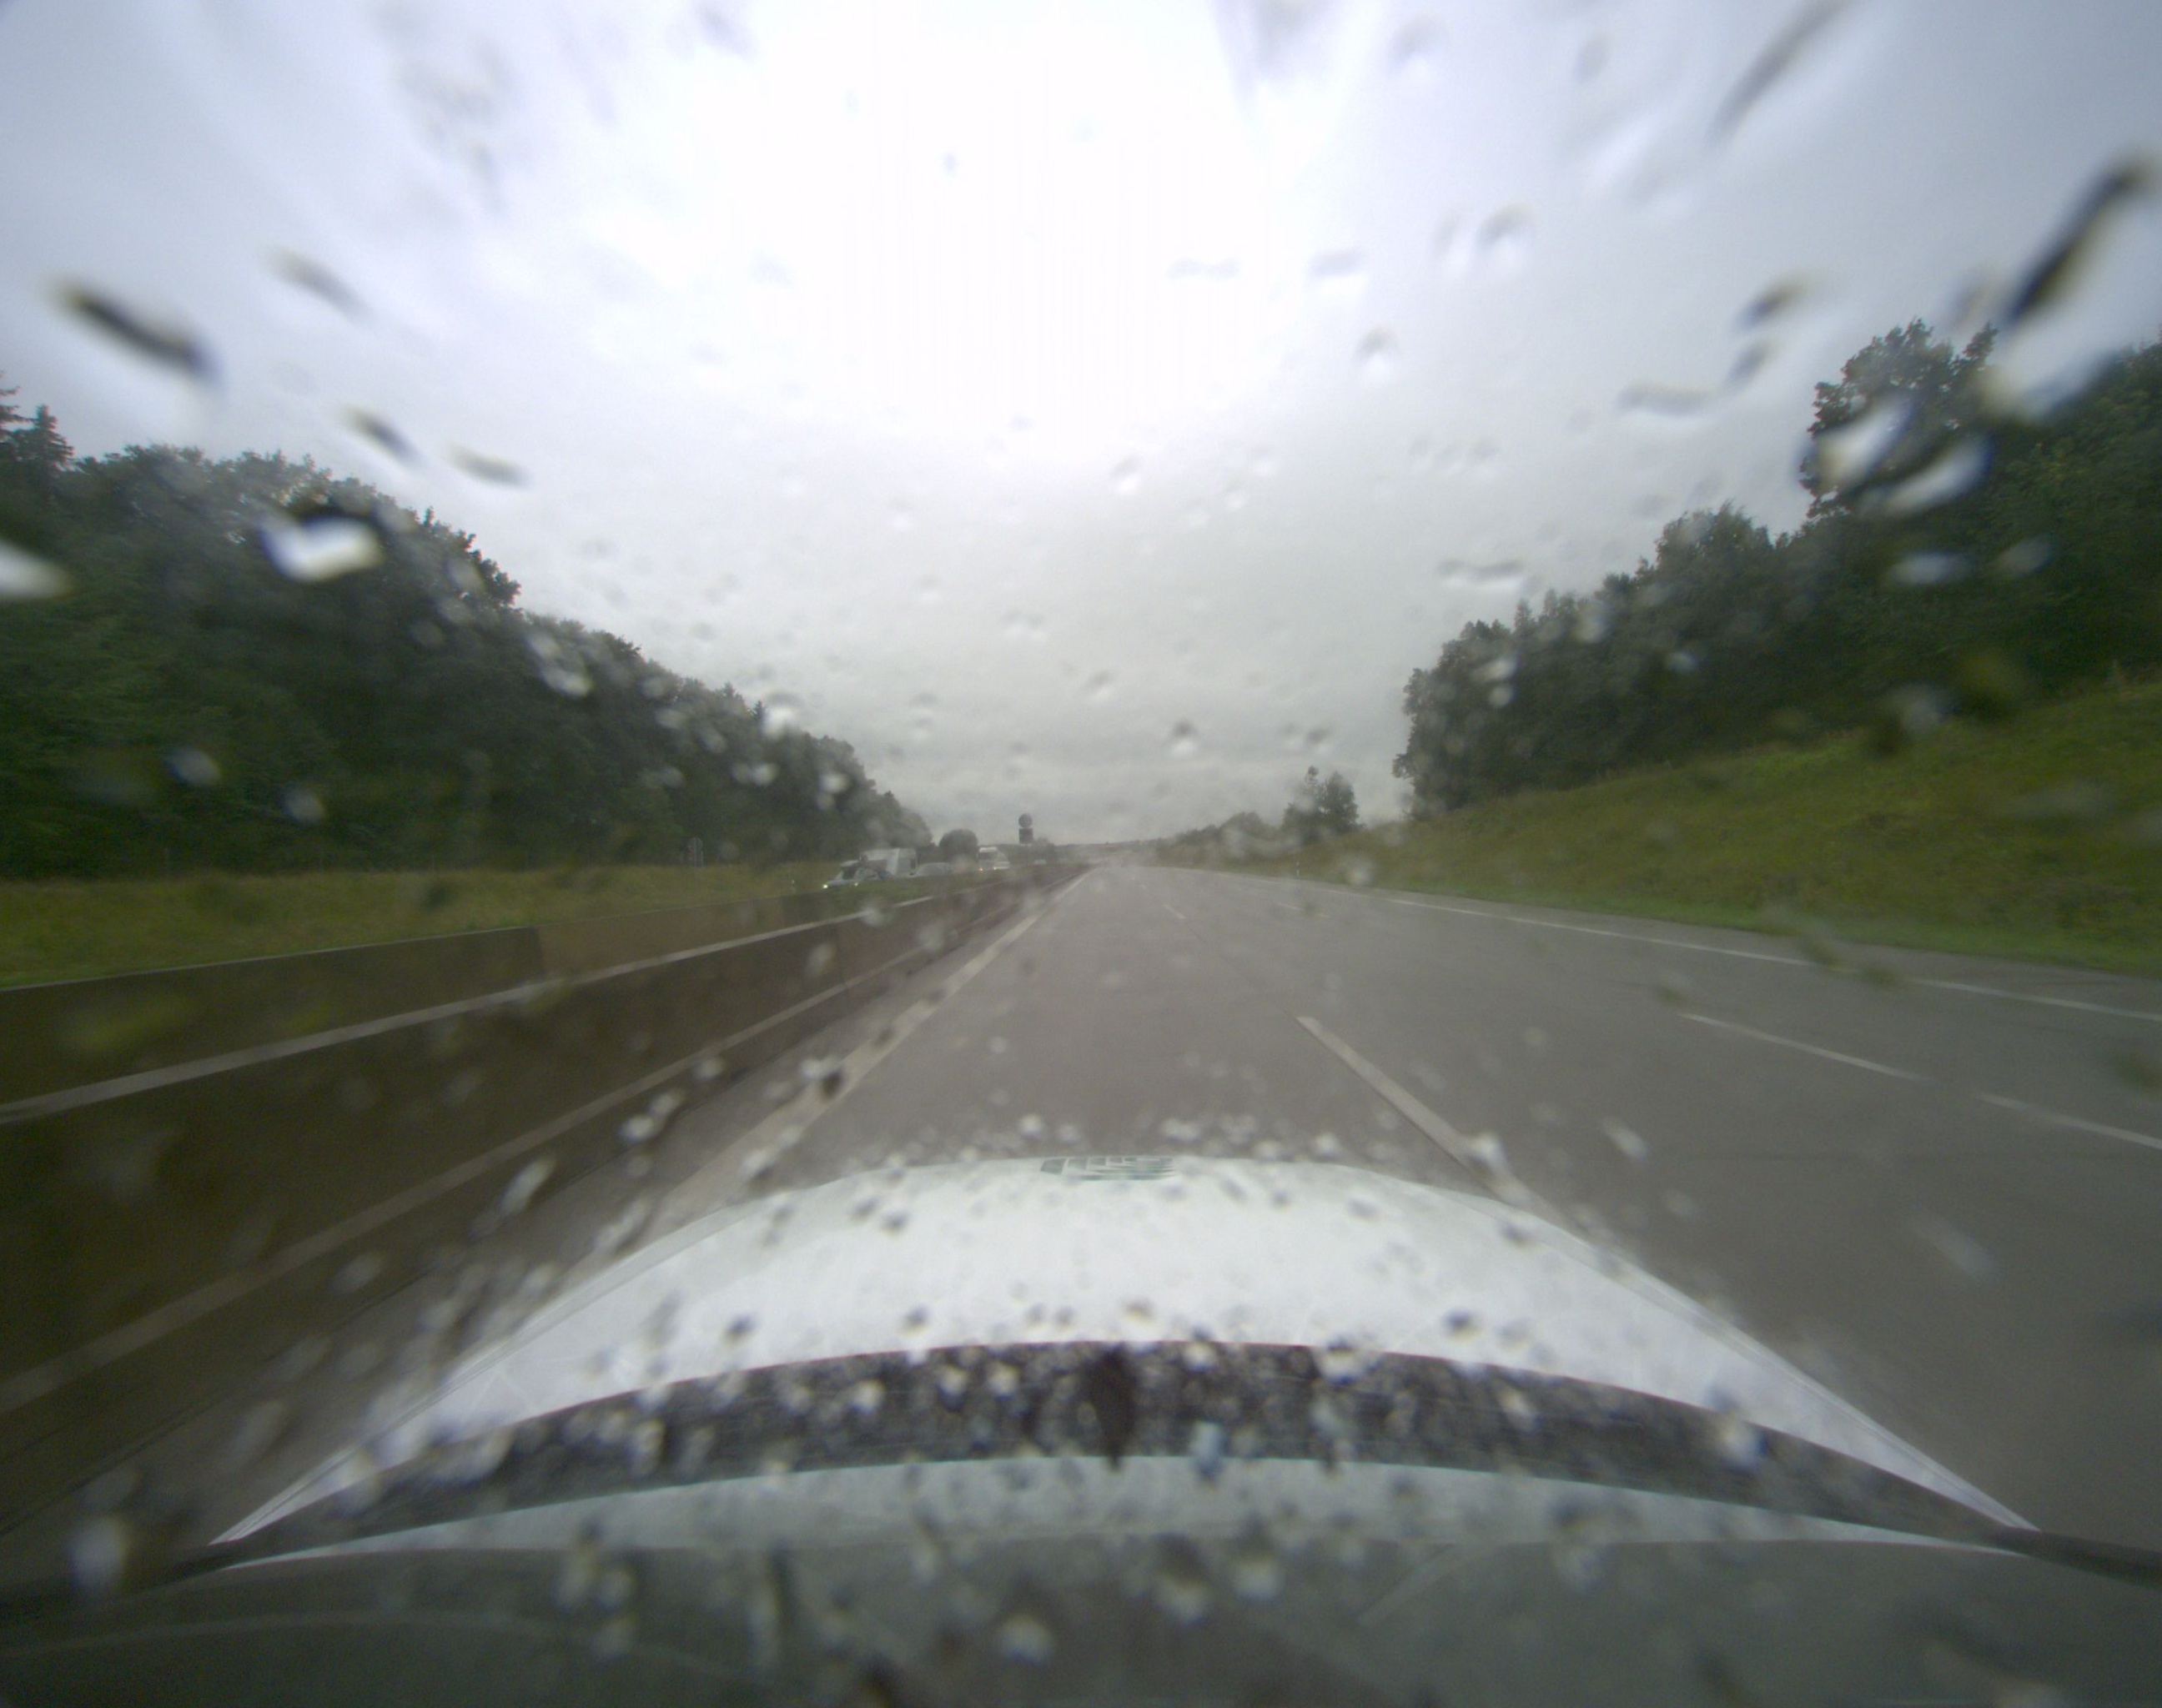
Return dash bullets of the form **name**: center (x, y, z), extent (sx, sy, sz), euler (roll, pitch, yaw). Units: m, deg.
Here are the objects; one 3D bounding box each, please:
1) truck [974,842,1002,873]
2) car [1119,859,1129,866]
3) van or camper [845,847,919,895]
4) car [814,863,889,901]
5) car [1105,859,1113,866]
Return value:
- **truck**: center (-12.559, 0.441, 110.011), extent (2.654, 3.875, 6.440), euler (-2, 1, 2)
- **car**: center (9.205, 1.866, 173.527), extent (1.841, 1.331, 4.430), euler (-1, 1, 1)
- **van or camper**: center (-11.057, 0.922, 45.769), extent (2.492, 2.429, 5.920), euler (-2, 0, 1)
- **car**: center (-11.182, 1.313, 40.089), extent (1.986, 1.644, 5.410), euler (-3, -1, 1)
- **car**: center (6.088, 1.880, 177.911), extent (1.722, 1.331, 4.432), euler (-1, 1, 2)
